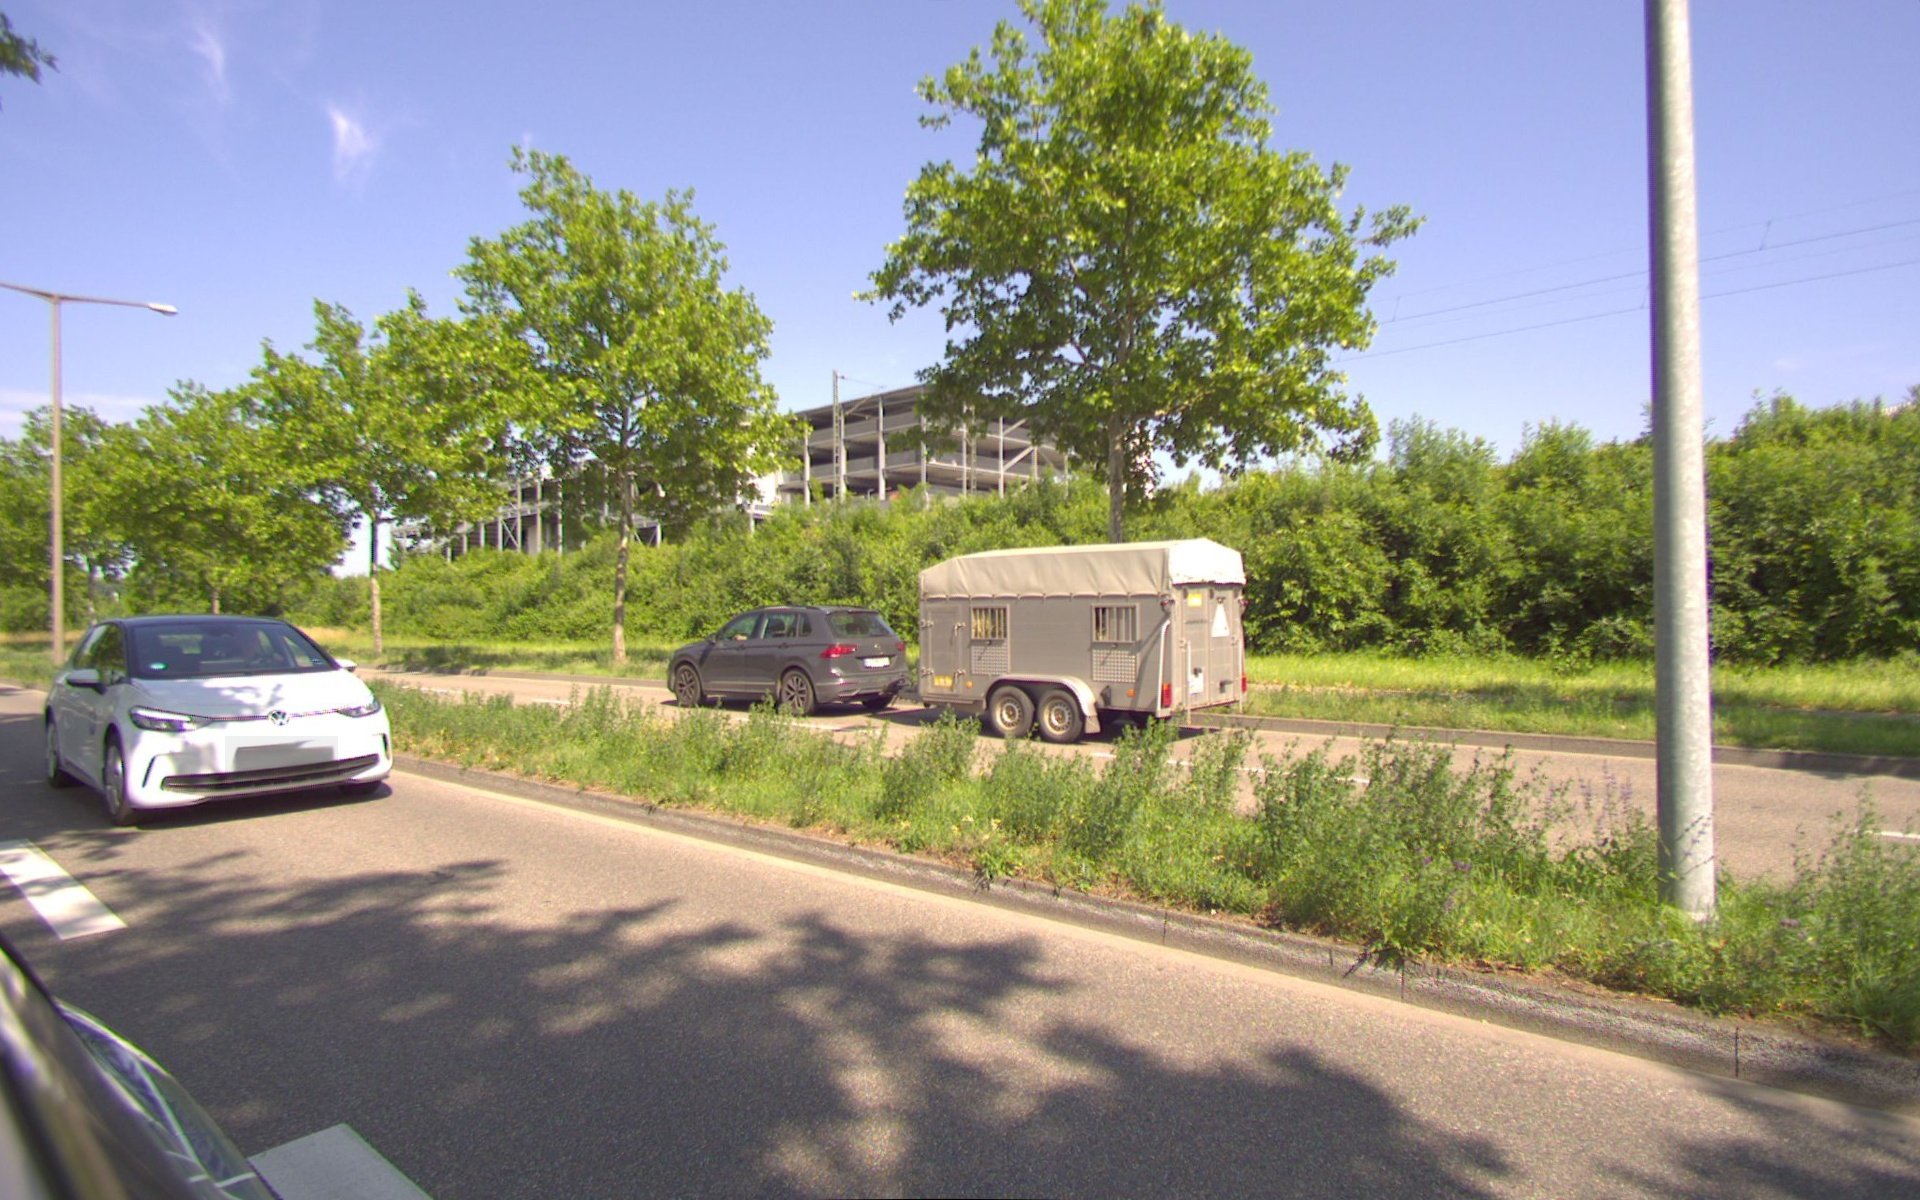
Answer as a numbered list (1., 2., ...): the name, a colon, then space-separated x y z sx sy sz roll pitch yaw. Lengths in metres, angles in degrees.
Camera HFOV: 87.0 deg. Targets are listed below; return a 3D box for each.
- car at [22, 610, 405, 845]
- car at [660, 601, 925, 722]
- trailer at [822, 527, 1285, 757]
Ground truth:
1. car: -6.601 0.897 8.768 4.206 1.533 1.800 -2 -1 41
2. car: -2.715 0.865 15.747 4.359 1.634 1.697 -1 -1 41
3. trailer: 0.957 0.463 12.772 5.535 2.282 2.285 -1 -1 41
